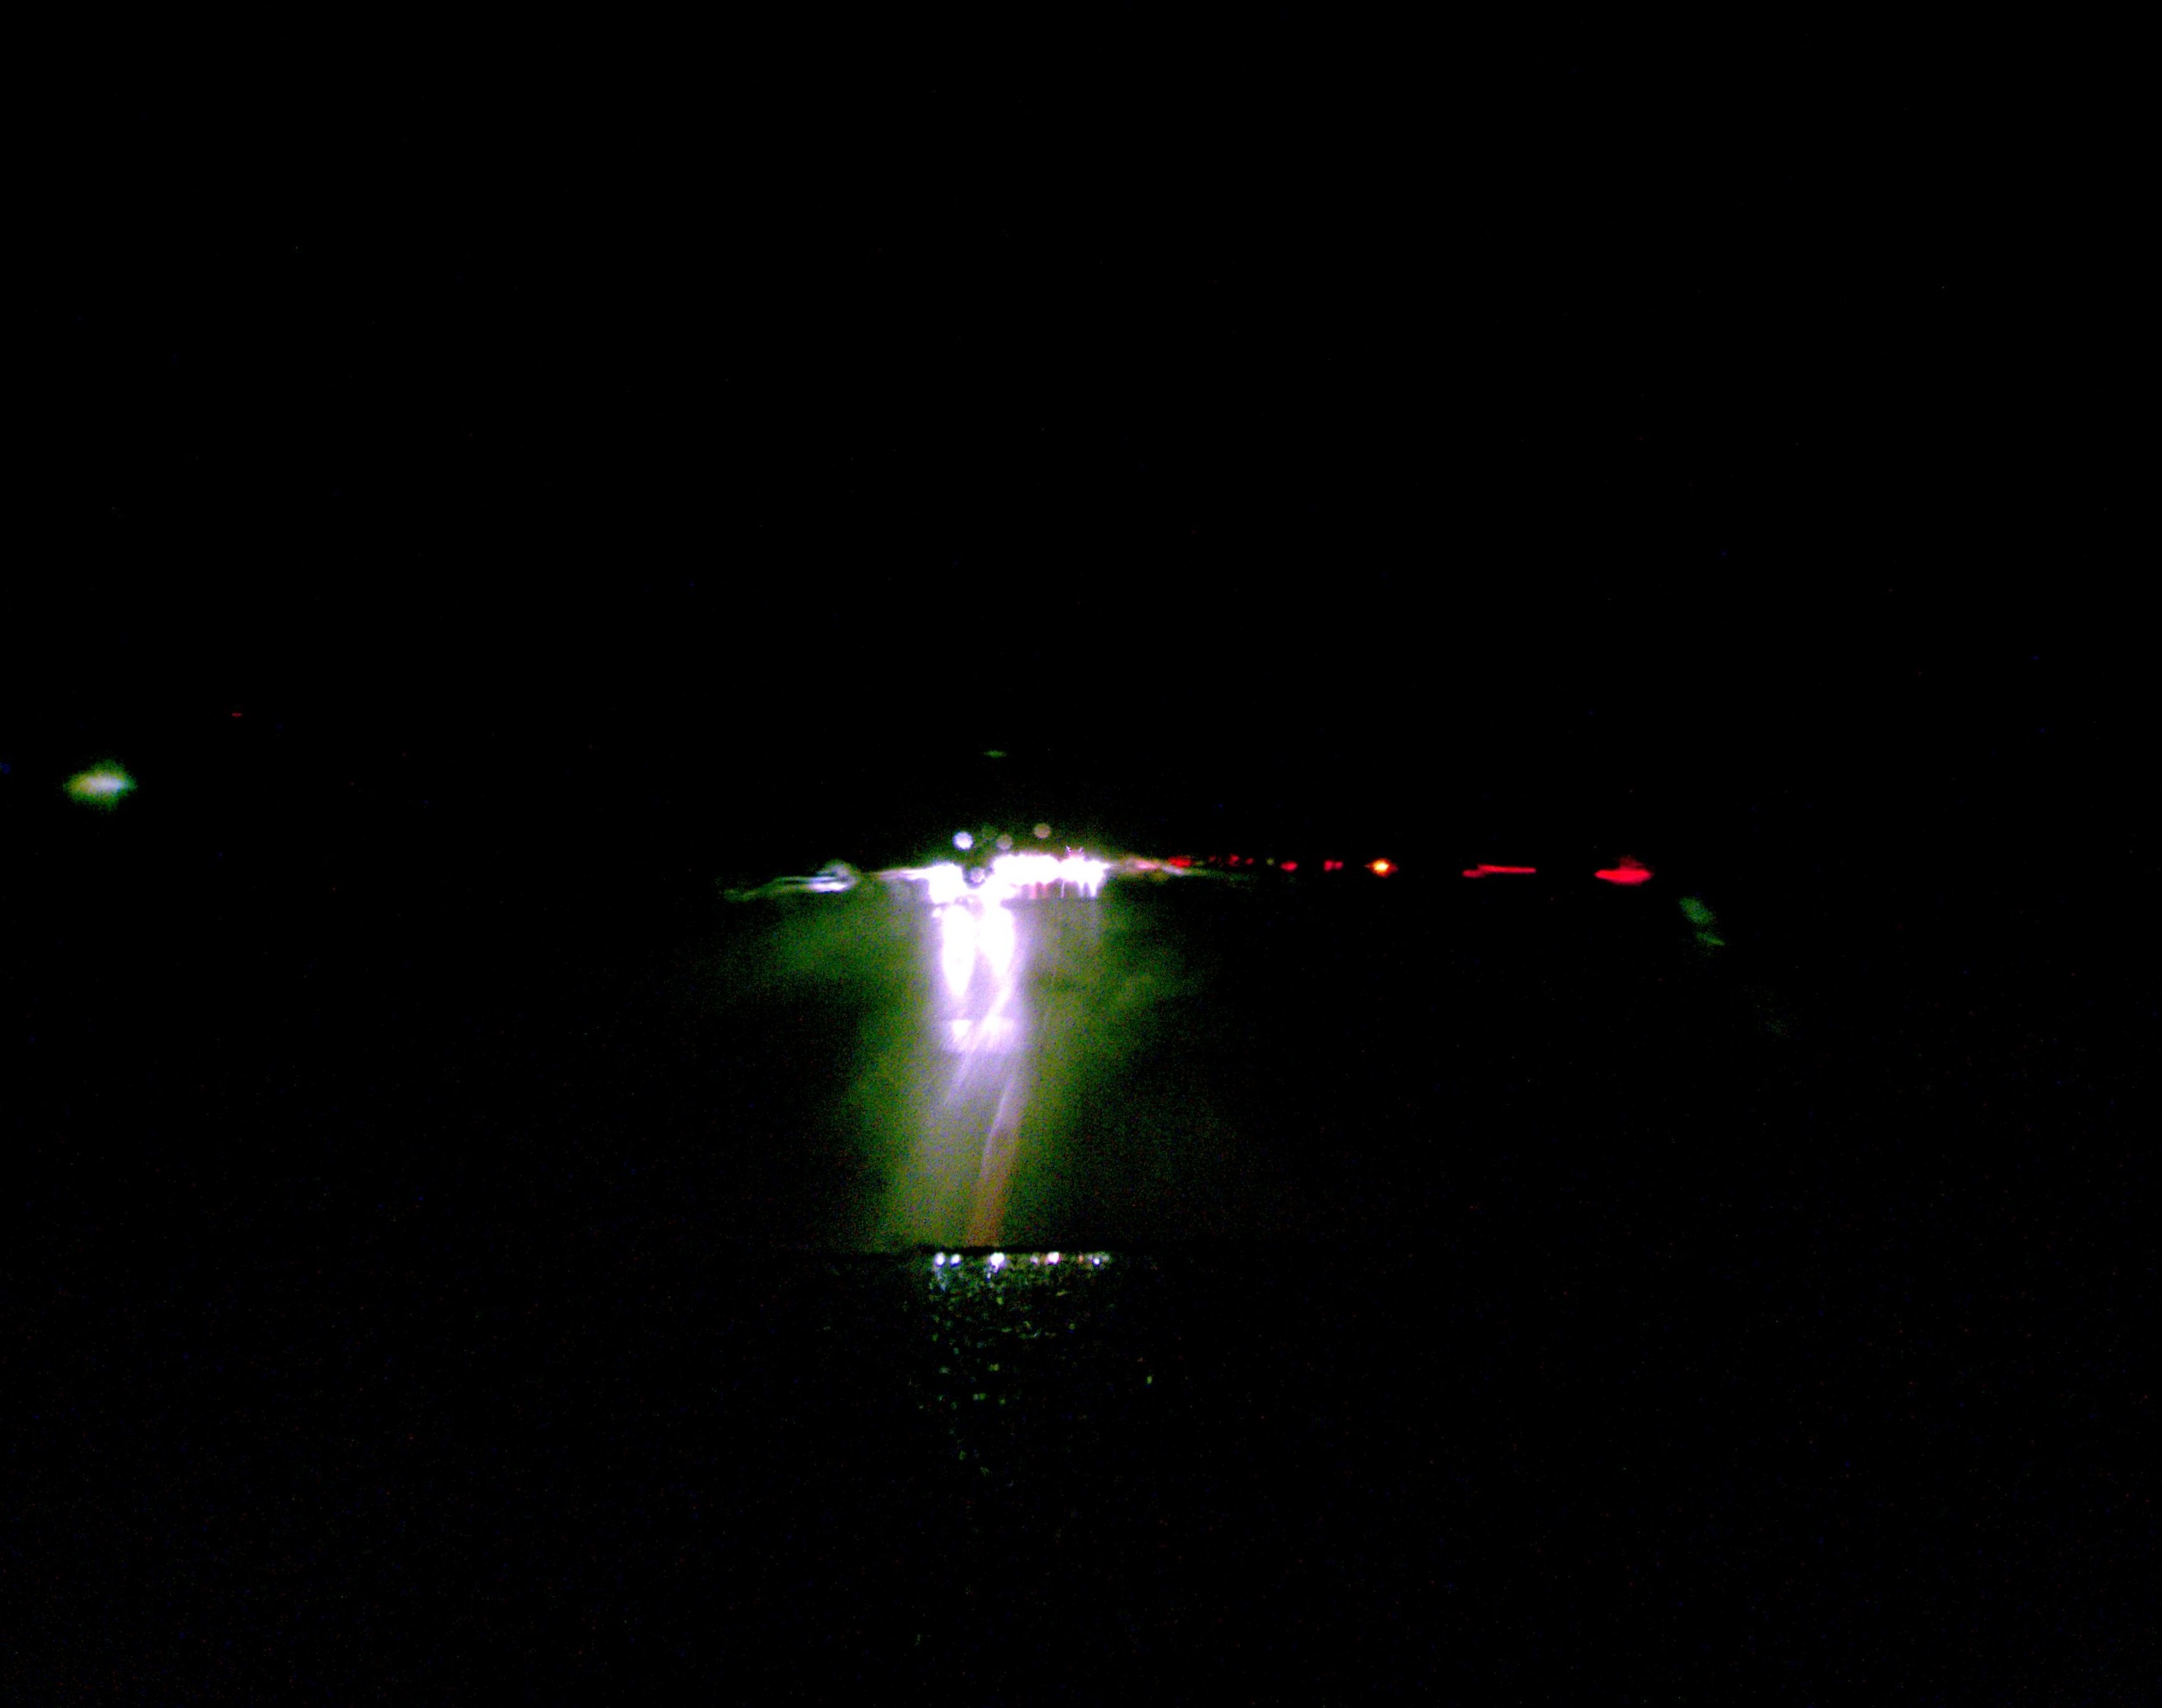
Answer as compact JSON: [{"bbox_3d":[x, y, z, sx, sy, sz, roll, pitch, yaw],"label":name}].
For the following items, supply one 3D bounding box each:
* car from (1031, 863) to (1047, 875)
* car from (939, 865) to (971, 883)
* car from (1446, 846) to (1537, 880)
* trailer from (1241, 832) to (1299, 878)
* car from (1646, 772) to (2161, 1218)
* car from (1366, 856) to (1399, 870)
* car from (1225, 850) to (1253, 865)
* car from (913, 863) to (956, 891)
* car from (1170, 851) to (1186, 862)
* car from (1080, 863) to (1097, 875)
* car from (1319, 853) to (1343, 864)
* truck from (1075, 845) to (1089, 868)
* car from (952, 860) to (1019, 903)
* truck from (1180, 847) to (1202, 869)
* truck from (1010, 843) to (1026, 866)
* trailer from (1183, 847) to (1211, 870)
[{"bbox_3d":[-5.135,1.857,93.175,1.712,1.286,3.990,1,-2,-6],"label":"car"},{"bbox_3d":[-10.926,1.698,66.037,1.723,1.488,4.046,-3,-1,5],"label":"car"},{"bbox_3d":[17.729,0.380,33.014,1.656,1.336,3.999,-2,0,-2],"label":"car"},{"bbox_3d":[21.470,0.041,87.526,2.930,4.821,14.578,1,1,0],"label":"trailer"},{"bbox_3d":[5.603,0.575,3.341,2.142,1.873,5.555,-1,1,0],"label":"car"},{"bbox_3d":[31.332,0.914,79.141,1.563,1.369,4.593,1,1,0],"label":"car"},{"bbox_3d":[16.896,0.344,81.478,1.999,1.590,4.593,1,1,-1],"label":"car"},{"bbox_3d":[-8.802,1.349,45.957,1.999,1.441,4.332,0,1,-4],"label":"car"},{"bbox_3d":[16.053,0.404,125.494,1.999,1.590,4.593,1,1,-1],"label":"car"},{"bbox_3d":[0.862,1.762,87.083,1.712,1.286,3.992,1,-2,-2],"label":"car"},{"bbox_3d":[33.632,0.634,102.431,1.616,1.415,4.796,1,1,0],"label":"car"},{"bbox_3d":[0.216,0.390,144.742,2.504,4.223,5.980,1,1,-1],"label":"truck"},{"bbox_3d":[-3.753,1.033,30.733,2.063,1.510,5.015,-2,0,0],"label":"car"},{"bbox_3d":[20.052,0.691,138.722,2.703,3.738,6.452,1,1,-1],"label":"truck"},{"bbox_3d":[-11.642,0.037,141.046,2.767,4.198,6.190,1,1,-6],"label":"truck"},{"bbox_3d":[20.192,0.734,132.996,2.703,3.727,12.017,1,1,-1],"label":"trailer"}]
